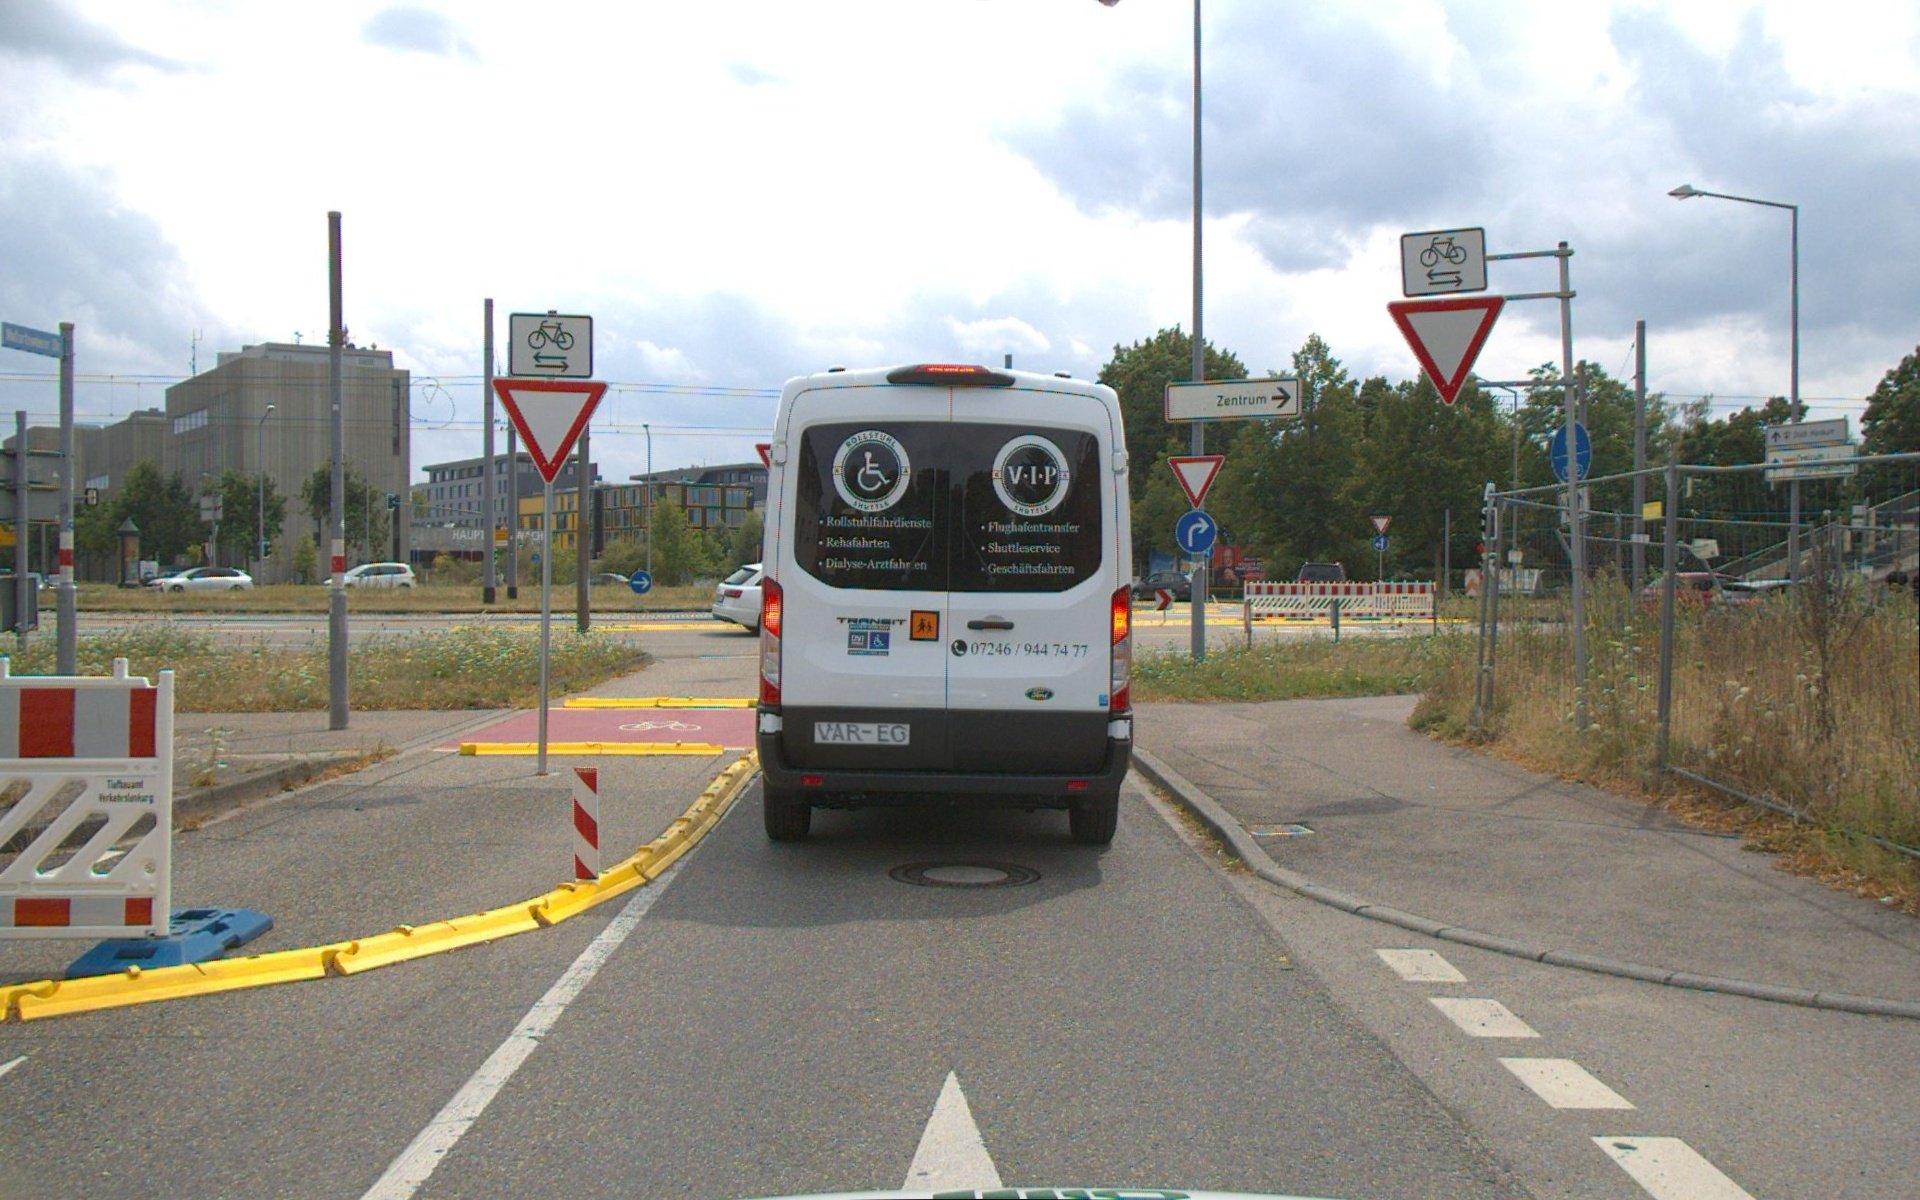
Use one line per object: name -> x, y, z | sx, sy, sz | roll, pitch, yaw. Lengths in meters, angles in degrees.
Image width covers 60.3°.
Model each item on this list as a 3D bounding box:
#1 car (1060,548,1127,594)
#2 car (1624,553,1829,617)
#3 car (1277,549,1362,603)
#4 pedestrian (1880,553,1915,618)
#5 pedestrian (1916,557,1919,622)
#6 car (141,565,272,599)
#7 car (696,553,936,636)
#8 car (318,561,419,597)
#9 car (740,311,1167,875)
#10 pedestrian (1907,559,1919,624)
car -> 7.061, -1.496, 87.715 | 1.995, 2.319, 4.135 | 1, 0, -20
car -> 20.296, -0.406, 43.877 | 4.650, 1.646, 1.996 | 0, 1, -10
car -> 12.249, -0.794, 56.645 | 1.953, 1.780, 3.999 | 0, 0, -2
pedestrian -> 26.431, -0.416, 46.628 | 0.673, 1.812, 0.553 | 0, 1, 6
pedestrian -> 27.051, -0.289, 45.950 | 0.673, 1.812, 0.553 | 0, 1, 6
car -> -34.471, -0.822, 75.784 | 1.967, 1.508, 5.146 | 1, 1, 45
car -> -3.018, -0.126, 34.669 | 4.672, 1.646, 1.986 | 0, 1, -23
car -> -29.087, -1.041, 81.442 | 4.322, 1.695, 1.907 | -1, 1, -44
car -> -0.070, -0.072, 10.889 | 2.083, 2.744, 5.631 | 0, 1, -1
pedestrian -> 27.168, -0.235, 46.649 | 0.618, 1.812, 0.553 | 0, 1, 6
